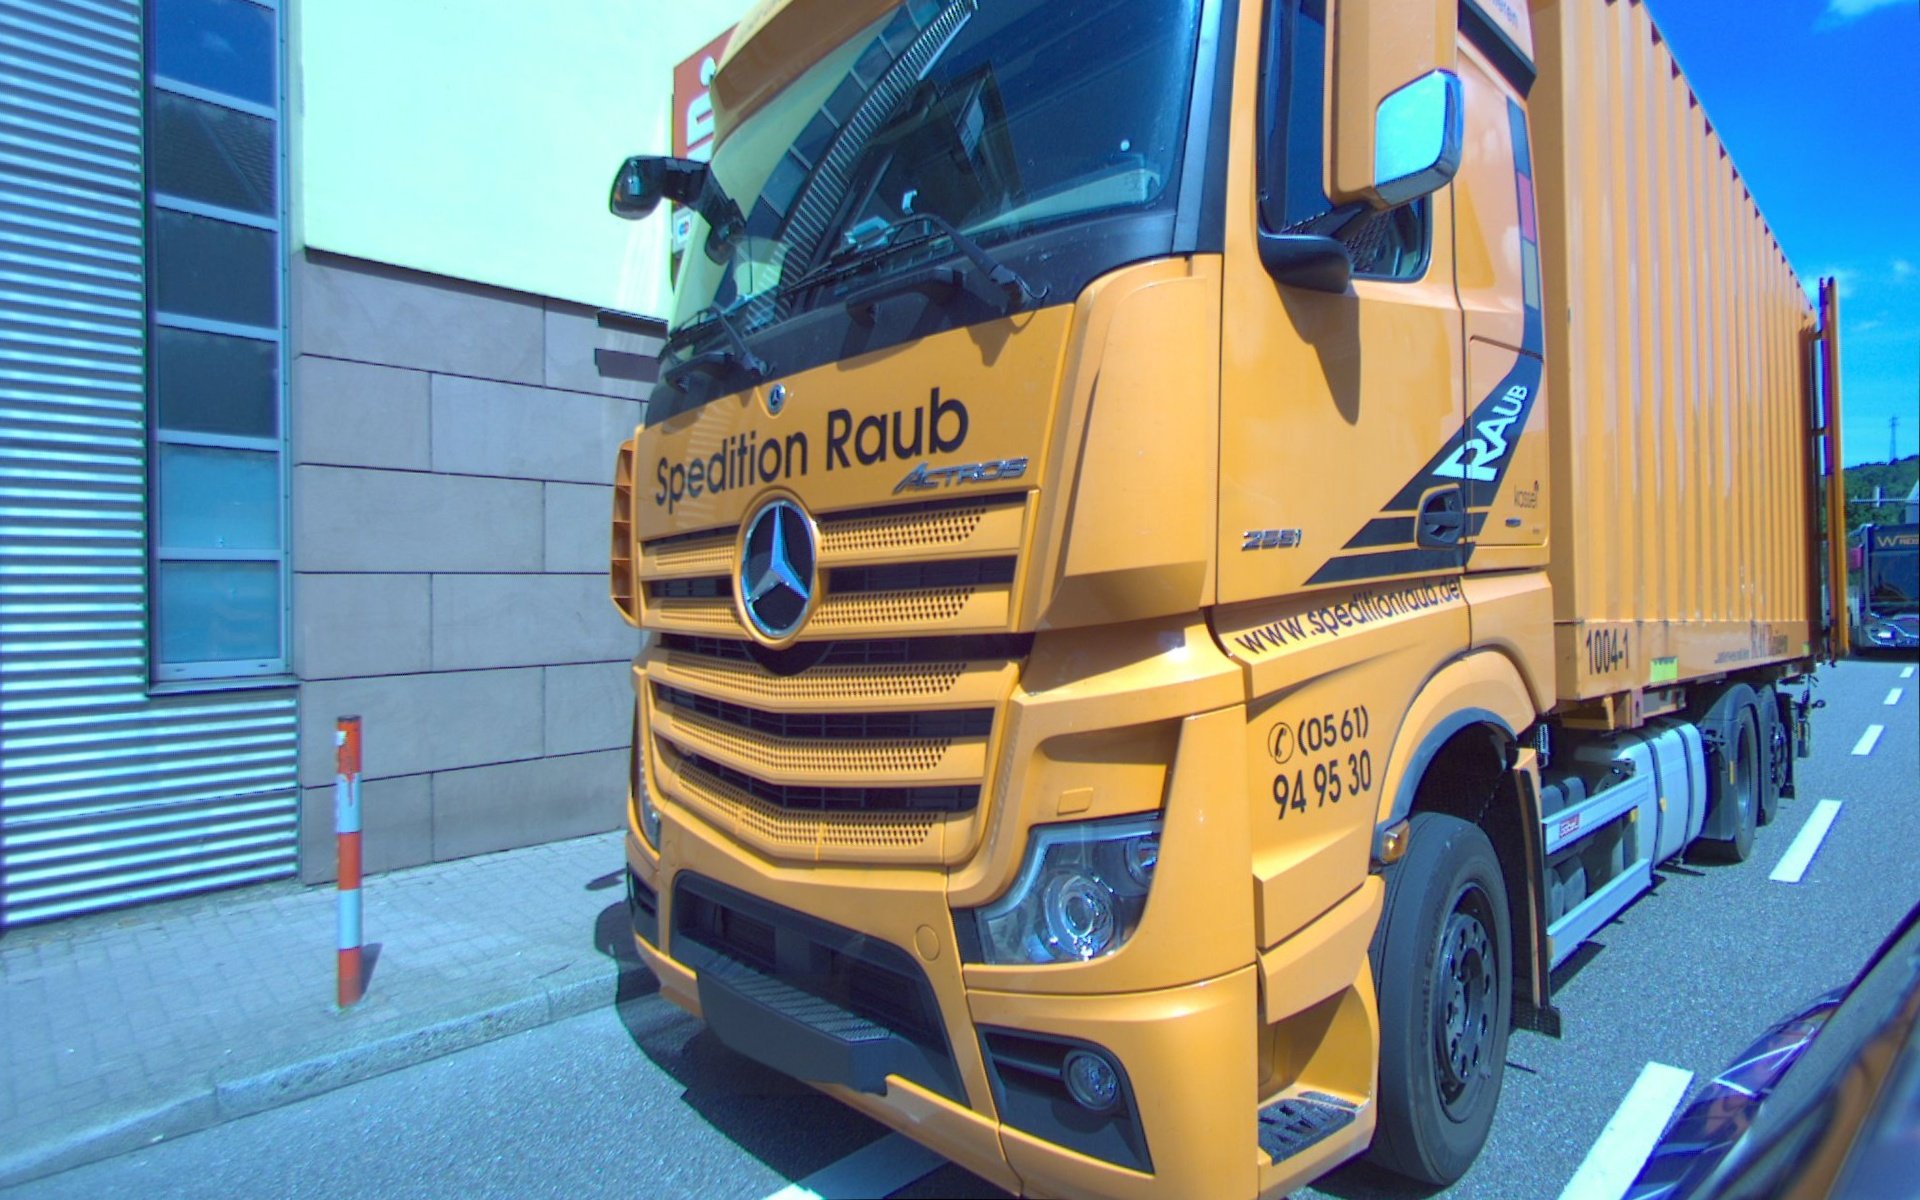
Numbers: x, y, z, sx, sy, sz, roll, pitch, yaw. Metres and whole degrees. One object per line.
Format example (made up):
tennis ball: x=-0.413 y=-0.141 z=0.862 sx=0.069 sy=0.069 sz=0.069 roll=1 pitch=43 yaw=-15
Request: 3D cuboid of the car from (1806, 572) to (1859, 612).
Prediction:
car: x=43.237 y=-0.425 z=50.226 sx=1.780 sy=1.852 sz=4.291 roll=2 pitch=3 yaw=39

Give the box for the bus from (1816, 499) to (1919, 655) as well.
bus: x=26.110 y=-0.657 z=28.038 sx=2.846 sy=3.244 sz=18.773 roll=1 pitch=2 yaw=38

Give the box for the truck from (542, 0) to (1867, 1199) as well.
truck: x=2.987 y=-0.550 z=5.971 sx=9.823 sy=3.996 sz=2.610 roll=1 pitch=-2 yaw=-43
